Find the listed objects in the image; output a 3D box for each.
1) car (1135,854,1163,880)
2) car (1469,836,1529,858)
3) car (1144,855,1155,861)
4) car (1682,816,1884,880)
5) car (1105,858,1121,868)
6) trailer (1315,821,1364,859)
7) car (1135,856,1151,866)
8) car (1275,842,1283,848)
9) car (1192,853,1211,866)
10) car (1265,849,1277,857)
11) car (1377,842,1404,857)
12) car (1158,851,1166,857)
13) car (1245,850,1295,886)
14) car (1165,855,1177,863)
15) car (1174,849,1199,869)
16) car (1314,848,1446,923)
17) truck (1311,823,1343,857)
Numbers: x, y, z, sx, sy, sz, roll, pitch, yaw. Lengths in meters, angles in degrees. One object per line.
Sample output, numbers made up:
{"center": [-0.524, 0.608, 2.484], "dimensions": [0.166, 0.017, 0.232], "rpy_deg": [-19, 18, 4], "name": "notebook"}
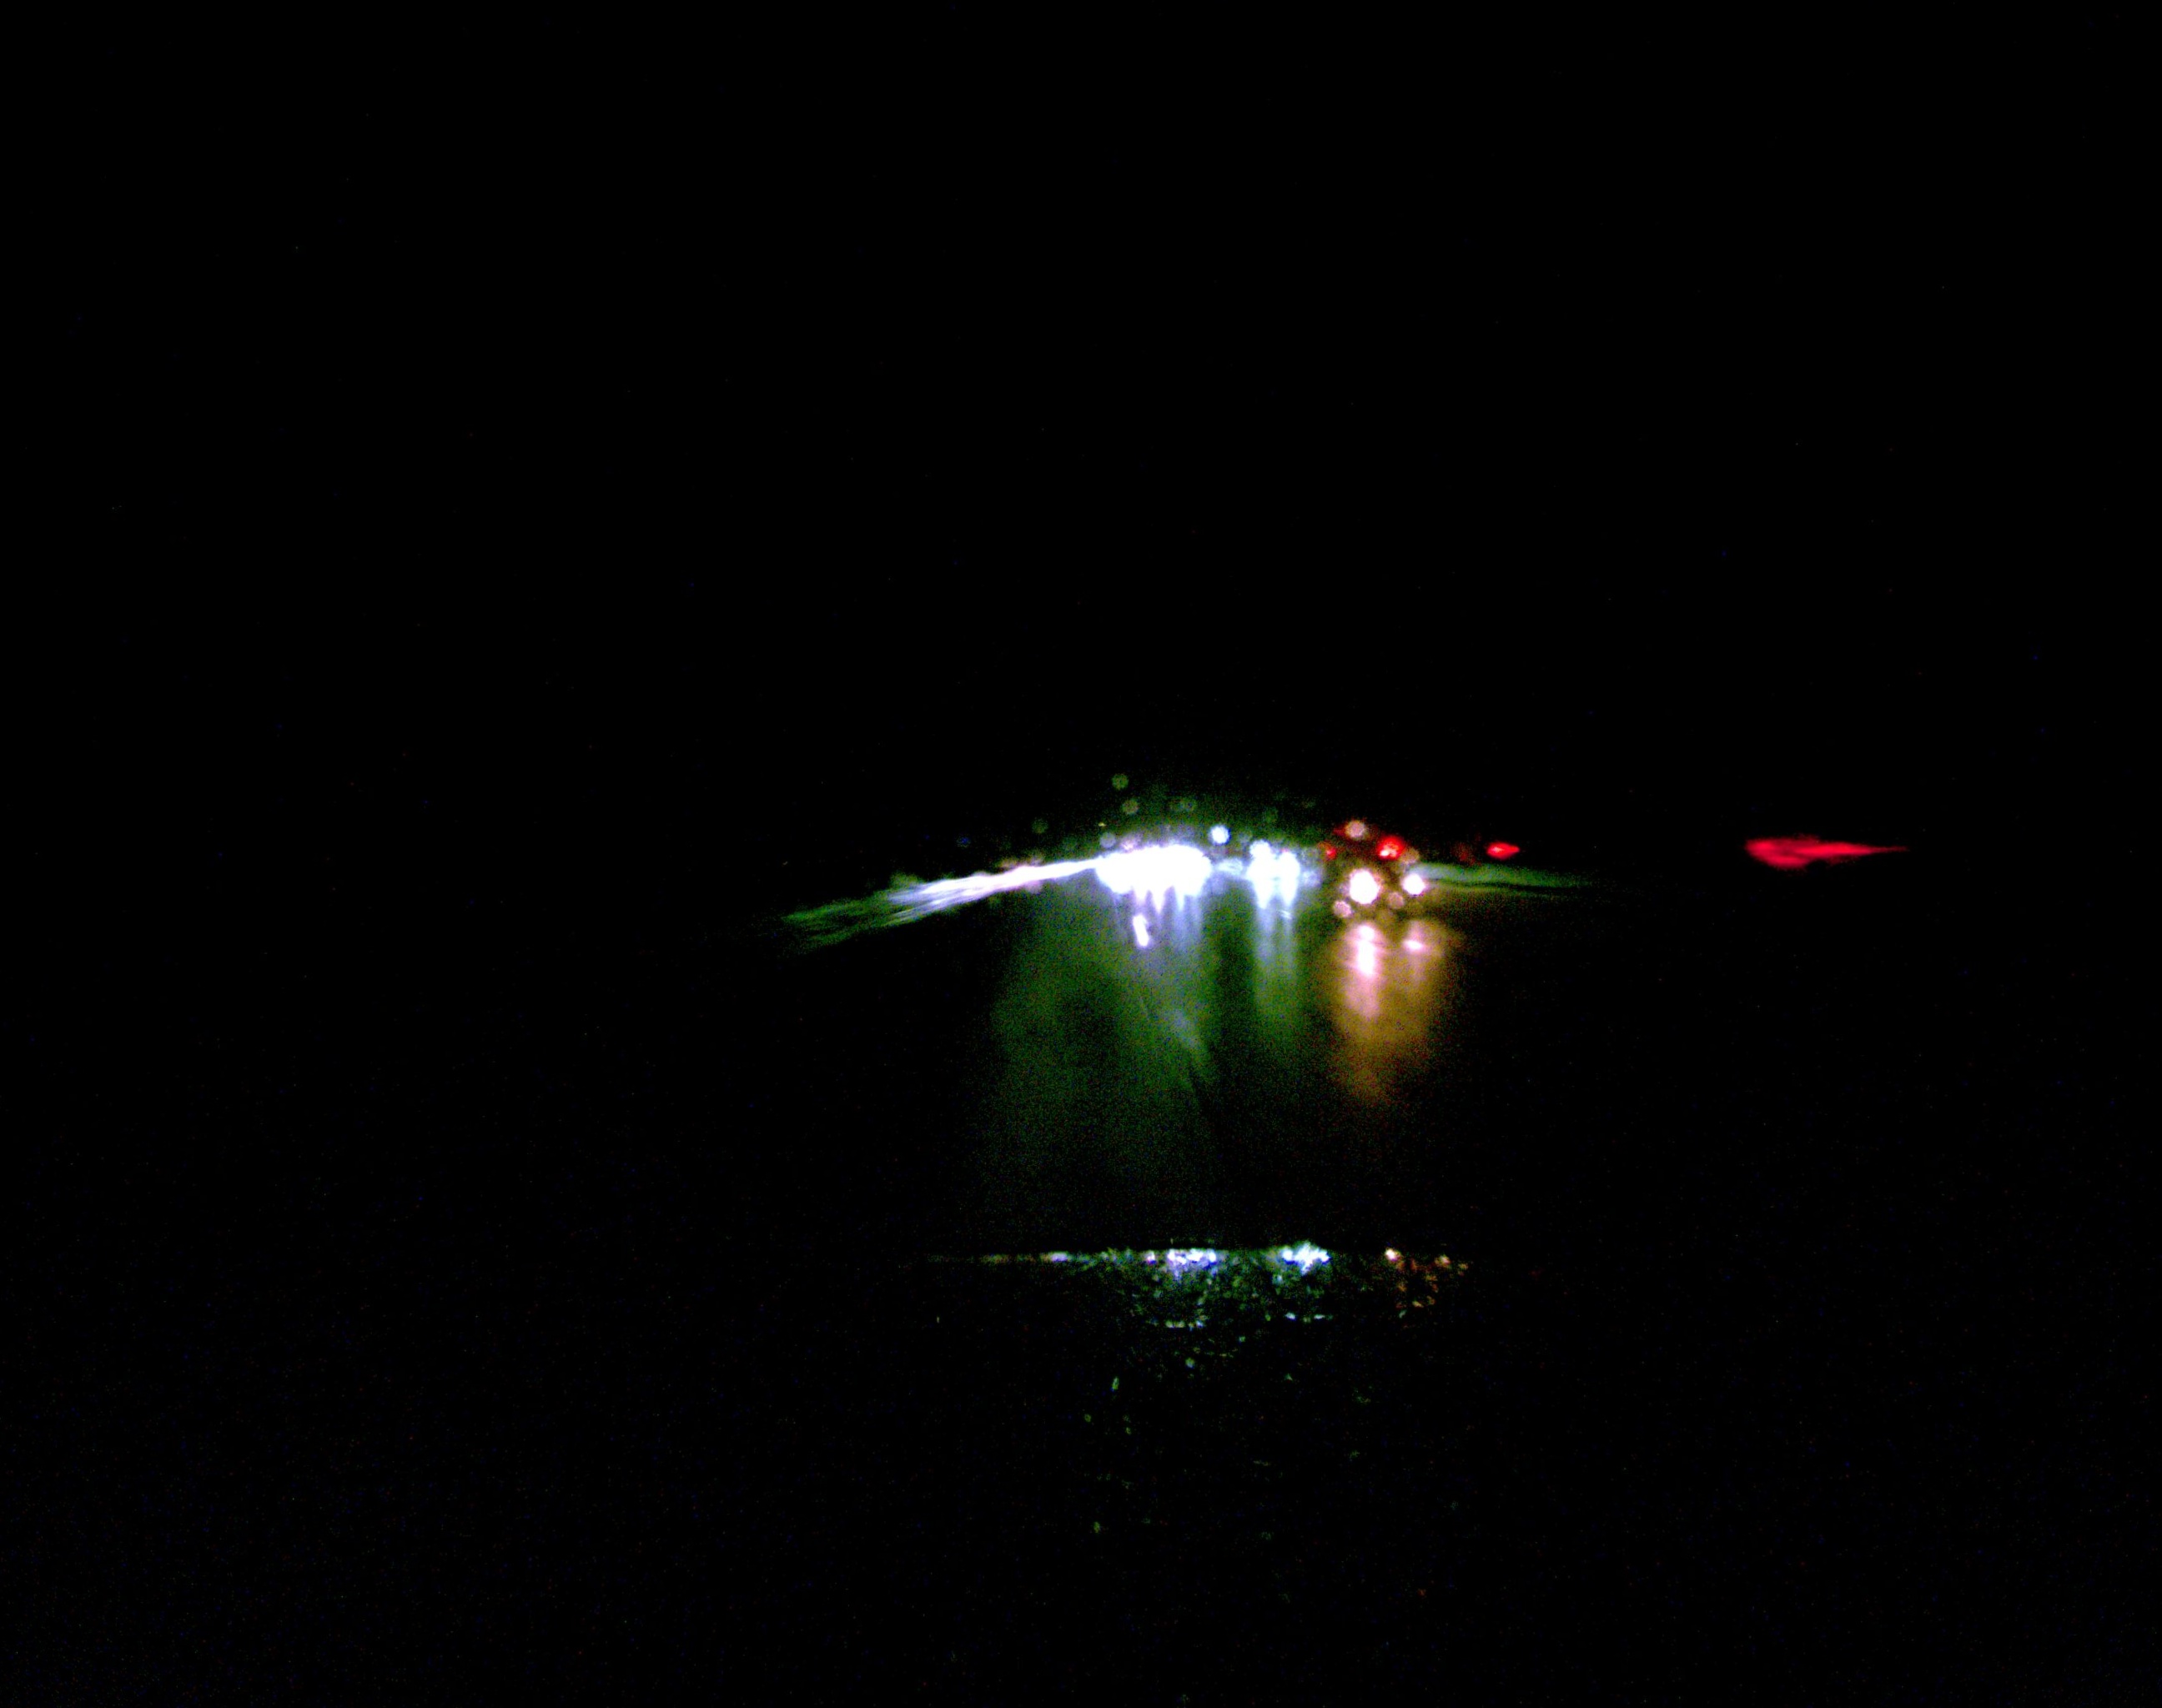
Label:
{"center": [5.521, 1.022, 61.903], "dimensions": [1.998, 2.002, 4.000], "rpy_deg": [-2, 1, 3], "name": "car"}
{"center": [33.326, -0.534, 60.711], "dimensions": [1.780, 1.587, 5.151], "rpy_deg": [-4, 0, -1], "name": "car"}
{"center": [14.662, 0.801, 162.920], "dimensions": [1.998, 1.149, 4.000], "rpy_deg": [-2, 1, 3], "name": "car"}
{"center": [20.522, -0.161, 22.519], "dimensions": [1.780, 1.587, 4.400], "rpy_deg": [-4, 0, -1], "name": "car"}
{"center": [4.217, 1.177, 100.429], "dimensions": [1.998, 1.149, 4.000], "rpy_deg": [-2, 1, 3], "name": "car"}
{"center": [37.561, -2.029, 110.978], "dimensions": [3.271, 5.039, 13.974], "rpy_deg": [-2, 1, 5], "name": "trailer"}
{"center": [8.515, 0.961, 104.651], "dimensions": [1.998, 1.149, 4.000], "rpy_deg": [-2, 1, 3], "name": "car"}
{"center": [57.610, -2.700, 220.864], "dimensions": [1.779, 1.586, 4.003], "rpy_deg": [-4, 0, 9], "name": "car"}
{"center": [17.216, 0.762, 108.441], "dimensions": [2.310, 1.600, 3.872], "rpy_deg": [-2, 1, 3], "name": "car"}
{"center": [39.724, -0.162, 158.993], "dimensions": [1.780, 1.587, 4.001], "rpy_deg": [-4, 0, 5], "name": "car"}
{"center": [35.957, -0.568, 88.384], "dimensions": [1.779, 1.587, 4.225], "rpy_deg": [-4, 0, 6], "name": "car"}
{"center": [22.481, -0.037, 211.698], "dimensions": [1.998, 1.379, 4.001], "rpy_deg": [-4, 0, 4], "name": "car"}
{"center": [11.768, 0.834, 47.620], "dimensions": [2.143, 2.002, 4.529], "rpy_deg": [-2, 1, 2], "name": "car"}
{"center": [14.664, 0.739, 123.699], "dimensions": [1.693, 1.149, 3.420], "rpy_deg": [-2, 1, 2], "name": "car"}
{"center": [9.643, 0.452, 69.600], "dimensions": [1.998, 1.667, 4.001], "rpy_deg": [-2, 1, 5], "name": "car"}
{"center": [7.359, 0.702, 19.178], "dimensions": [1.920, 1.585, 4.234], "rpy_deg": [-2, 1, 5], "name": "car"}
{"center": [38.110, -2.110, 117.828], "dimensions": [3.271, 5.039, 6.028], "rpy_deg": [-2, 1, 5], "name": "truck"}
